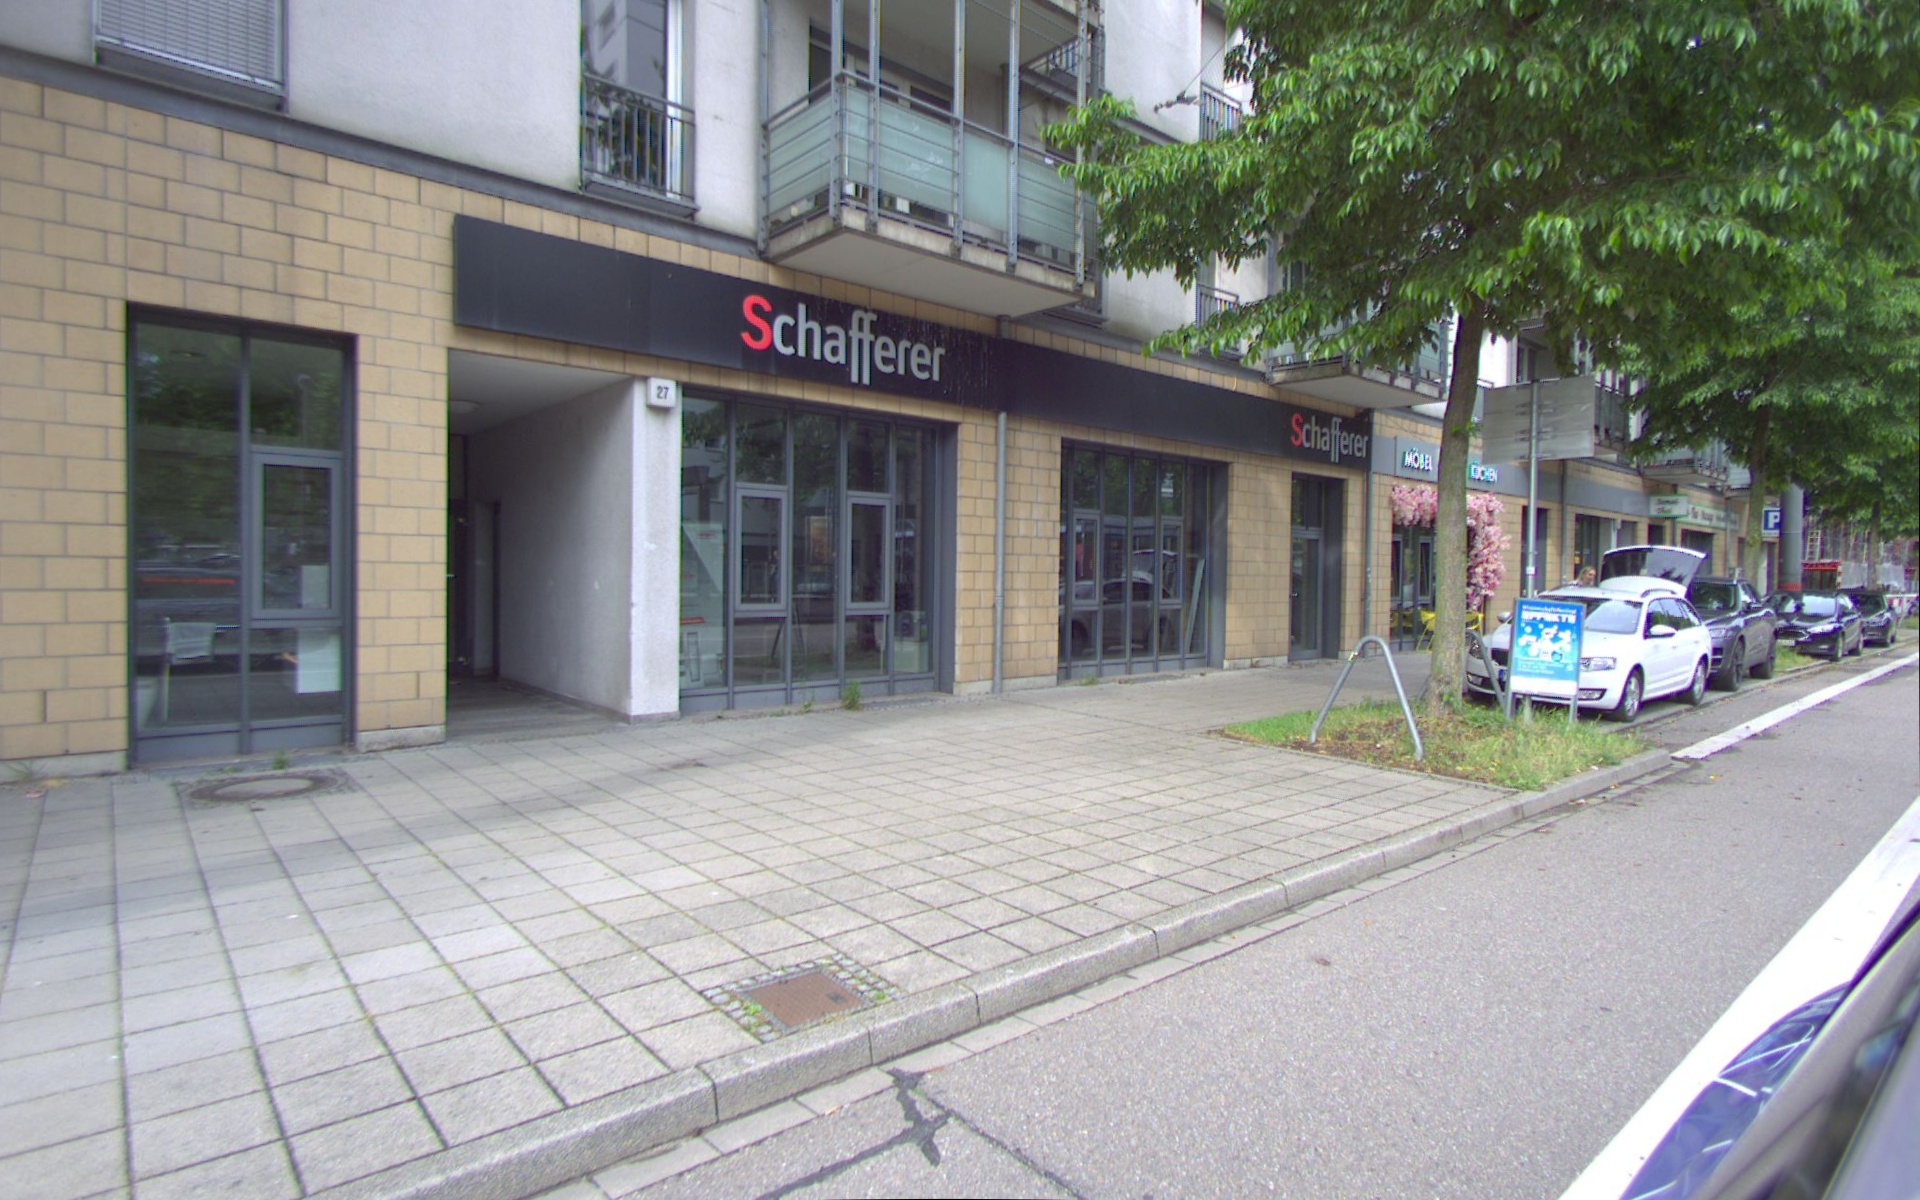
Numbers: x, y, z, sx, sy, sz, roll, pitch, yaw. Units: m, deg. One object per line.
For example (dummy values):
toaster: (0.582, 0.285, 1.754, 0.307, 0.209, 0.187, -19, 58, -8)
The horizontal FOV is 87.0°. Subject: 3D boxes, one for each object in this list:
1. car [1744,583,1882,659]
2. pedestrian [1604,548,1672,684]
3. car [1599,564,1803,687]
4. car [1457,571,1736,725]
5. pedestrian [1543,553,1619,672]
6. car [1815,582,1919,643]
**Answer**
car: (18.625, 0.385, 22.038, 4.095, 1.394, 1.612, -1, 5, -41)
pedestrian: (9.769, 0.212, 14.585, 0.588, 1.907, 0.656, 0, 1, -40)
car: (11.784, 0.317, 16.022, 3.732, 1.630, 1.738, -1, 5, -41)
car: (8.112, 0.472, 12.749, 4.233, 1.539, 1.738, -1, 5, -41)
pedestrian: (9.368, 0.171, 15.267, 0.606, 1.738, 0.739, 0, 2, -34)
car: (24.146, 0.285, 26.864, 3.603, 1.417, 1.612, -1, 5, -41)
